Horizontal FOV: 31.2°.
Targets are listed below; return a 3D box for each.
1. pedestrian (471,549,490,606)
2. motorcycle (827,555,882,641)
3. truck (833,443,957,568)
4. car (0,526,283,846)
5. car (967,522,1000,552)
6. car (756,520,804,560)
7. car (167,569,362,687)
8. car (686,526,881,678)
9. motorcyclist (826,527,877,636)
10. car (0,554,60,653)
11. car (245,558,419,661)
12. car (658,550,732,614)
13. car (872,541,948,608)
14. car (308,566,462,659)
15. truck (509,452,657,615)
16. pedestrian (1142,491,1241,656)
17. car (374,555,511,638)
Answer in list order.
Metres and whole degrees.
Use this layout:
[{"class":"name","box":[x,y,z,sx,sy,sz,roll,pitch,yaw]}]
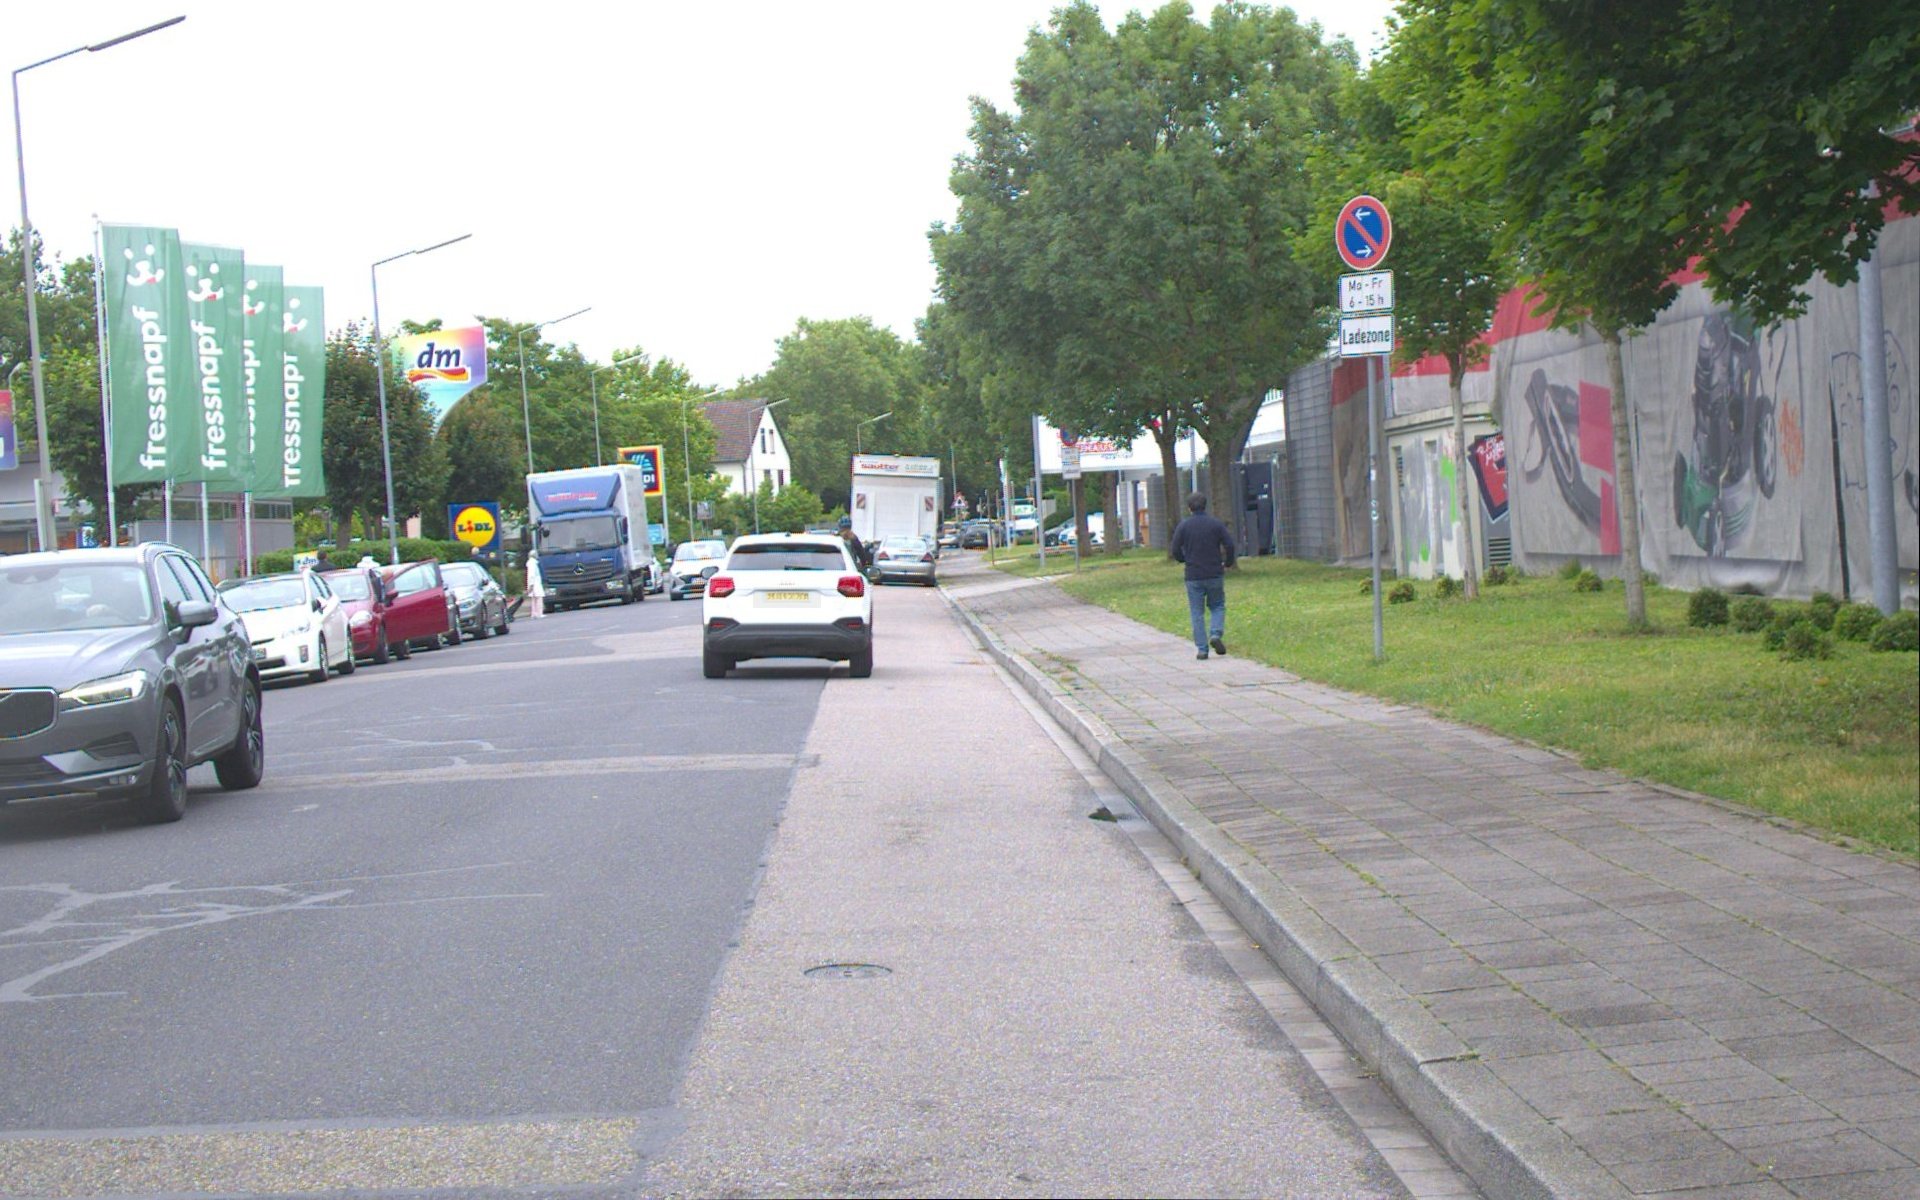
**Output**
[{"class":"pedestrian","box":[-13.086,-0.628,93.779,0.401,1.526,0.485,-3,1,-7]},{"class":"motorcycle","box":[-1.531,-0.038,50.093,0.641,1.174,2.113,-3,1,1]},{"class":"truck","box":[-2.084,-2.804,105.701,3.134,3.572,10.052,-2,1,-4]},{"class":"car","box":[-5.480,0.466,20.891,1.933,1.678,4.496,-4,1,-3]},{"class":"car","box":[1.365,-3.677,200.651,1.886,1.677,4.254,-1,1,0]},{"class":"car","box":[-7.848,-2.616,150.237,1.993,1.678,4.000,-2,1,-2]},{"class":"car","box":[-9.186,0.336,45.719,1.898,1.362,4.001,-3,1,-3]},{"class":"car","box":[-1.857,-0.027,37.376,1.886,1.526,4.254,-1,1,0]},{"class":"motorcyclist","box":[-1.581,-0.276,50.137,0.625,1.548,0.604,-3,1,1]},{"class":"car","box":[-16.090,0.140,52.697,4.134,1.458,1.899,-3,1,-6]},{"class":"car","box":[-9.478,0.118,52.176,1.898,1.362,4.000,-3,1,-1]},{"class":"car","box":[-6.930,-0.461,89.678,1.598,1.523,3.529,-5,1,-8]},{"class":"car","box":[-1.437,-0.719,96.598,1.993,1.799,4.000,-2,1,-2]},{"class":"car","box":[-9.607,0.188,57.670,1.898,1.362,4.000,-3,1,-1]},{"class":"truck","box":[-9.923,-1.777,91.171,2.973,3.942,6.405,-4,1,0]},{"class":"pedestrian","box":[2.353,-0.270,35.035,0.919,1.629,0.852,-2,0,1]},{"class":"car","box":[-9.528,-0.091,63.555,1.898,1.362,4.000,-3,1,-1]}]
